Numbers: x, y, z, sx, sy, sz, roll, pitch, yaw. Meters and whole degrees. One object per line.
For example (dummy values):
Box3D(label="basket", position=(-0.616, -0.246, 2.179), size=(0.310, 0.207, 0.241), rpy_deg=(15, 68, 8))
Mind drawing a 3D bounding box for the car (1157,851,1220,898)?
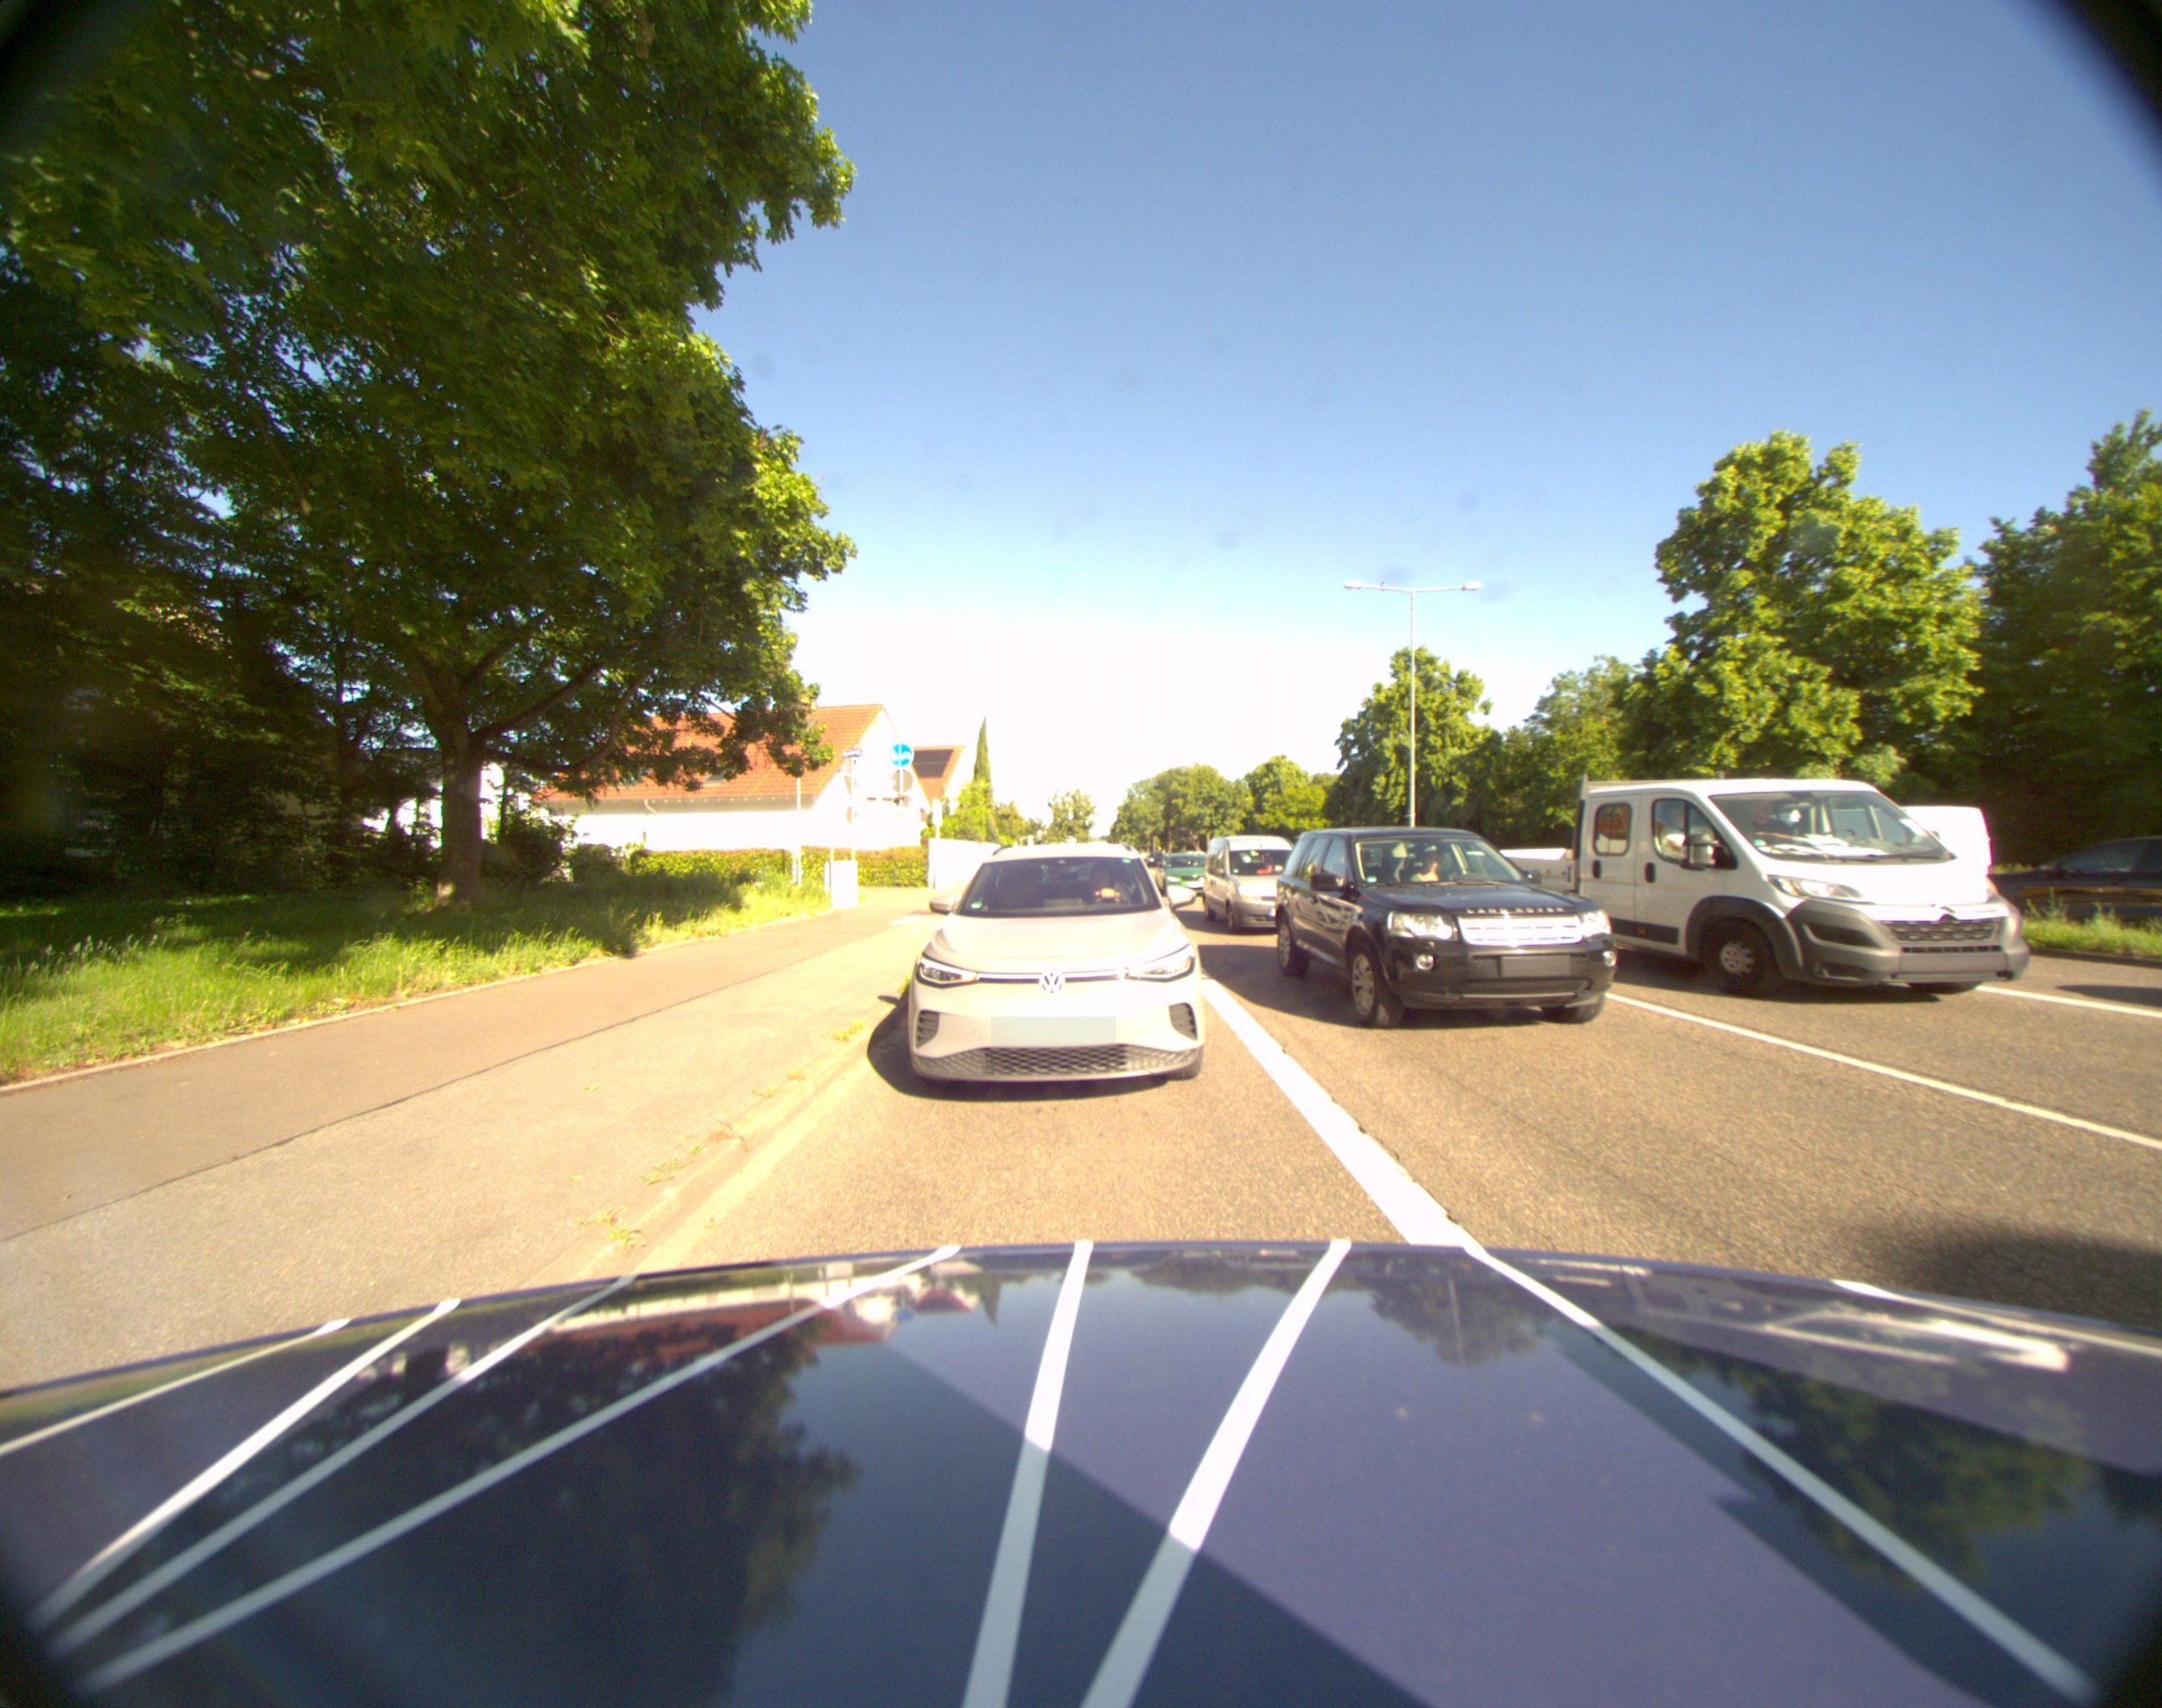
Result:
Box3D(label="car", position=(3.608, 0.644, 26.134), size=(1.630, 1.466, 3.931), rpy_deg=(0, 0, 0))

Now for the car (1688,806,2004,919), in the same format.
Box3D(label="car", position=(19.260, 0.166, 19.745), size=(2.105, 2.478, 6.003), rpy_deg=(0, 0, 0))

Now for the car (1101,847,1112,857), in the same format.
Box3D(label="car", position=(4.103, -0.268, 124.524), size=(1.726, 1.630, 4.000), rpy_deg=(0, 0, 1))

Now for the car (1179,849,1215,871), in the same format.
Box3D(label="car", position=(7.882, 0.356, 51.898), size=(1.727, 1.436, 3.999), rpy_deg=(0, 0, -3))

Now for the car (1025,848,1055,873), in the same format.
Box3D(label="car", position=(-2.596, 0.399, 48.803), size=(1.630, 1.523, 3.931), rpy_deg=(-1, 0, 0))

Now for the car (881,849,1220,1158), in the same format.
Box3D(label="car", position=(-0.139, 0.811, 6.295), size=(1.858, 1.679, 4.206), rpy_deg=(0, 1, 1))

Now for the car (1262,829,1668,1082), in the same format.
Box3D(label="car", position=(3.198, 0.672, 7.477), size=(1.816, 1.721, 4.385), rpy_deg=(-1, 1, 1))

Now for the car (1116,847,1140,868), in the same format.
Box3D(label="car", position=(3.741, 0.253, 60.742), size=(1.726, 1.630, 4.000), rpy_deg=(0, 0, 1))

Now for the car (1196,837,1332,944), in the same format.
Box3D(label="car", position=(3.370, 0.570, 14.814), size=(1.632, 1.741, 4.385), rpy_deg=(-1, 1, 1))

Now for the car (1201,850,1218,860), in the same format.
Box3D(label="car", position=(20.086, 0.157, 119.091), size=(1.893, 1.515, 4.503), rpy_deg=(0, 1, 0))

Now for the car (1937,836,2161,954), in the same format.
Box3D(label="car", position=(15.545, 0.552, 10.611), size=(1.998, 1.592, 4.615), rpy_deg=(0, 0, 1))

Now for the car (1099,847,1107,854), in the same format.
Box3D(label="car", position=(4.818, -0.806, 165.933), size=(1.726, 1.630, 4.000), rpy_deg=(0, 0, 1))

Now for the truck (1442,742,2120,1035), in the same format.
Box3D(label="truck", position=(7.252, 0.226, 9.525), size=(2.185, 2.307, 6.841), rpy_deg=(-2, 1, 0))

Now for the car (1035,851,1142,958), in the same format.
Box3D(label="car", position=(0.152, 0.786, 13.873), size=(1.632, 1.586, 4.024), rpy_deg=(-1, 1, 1))
